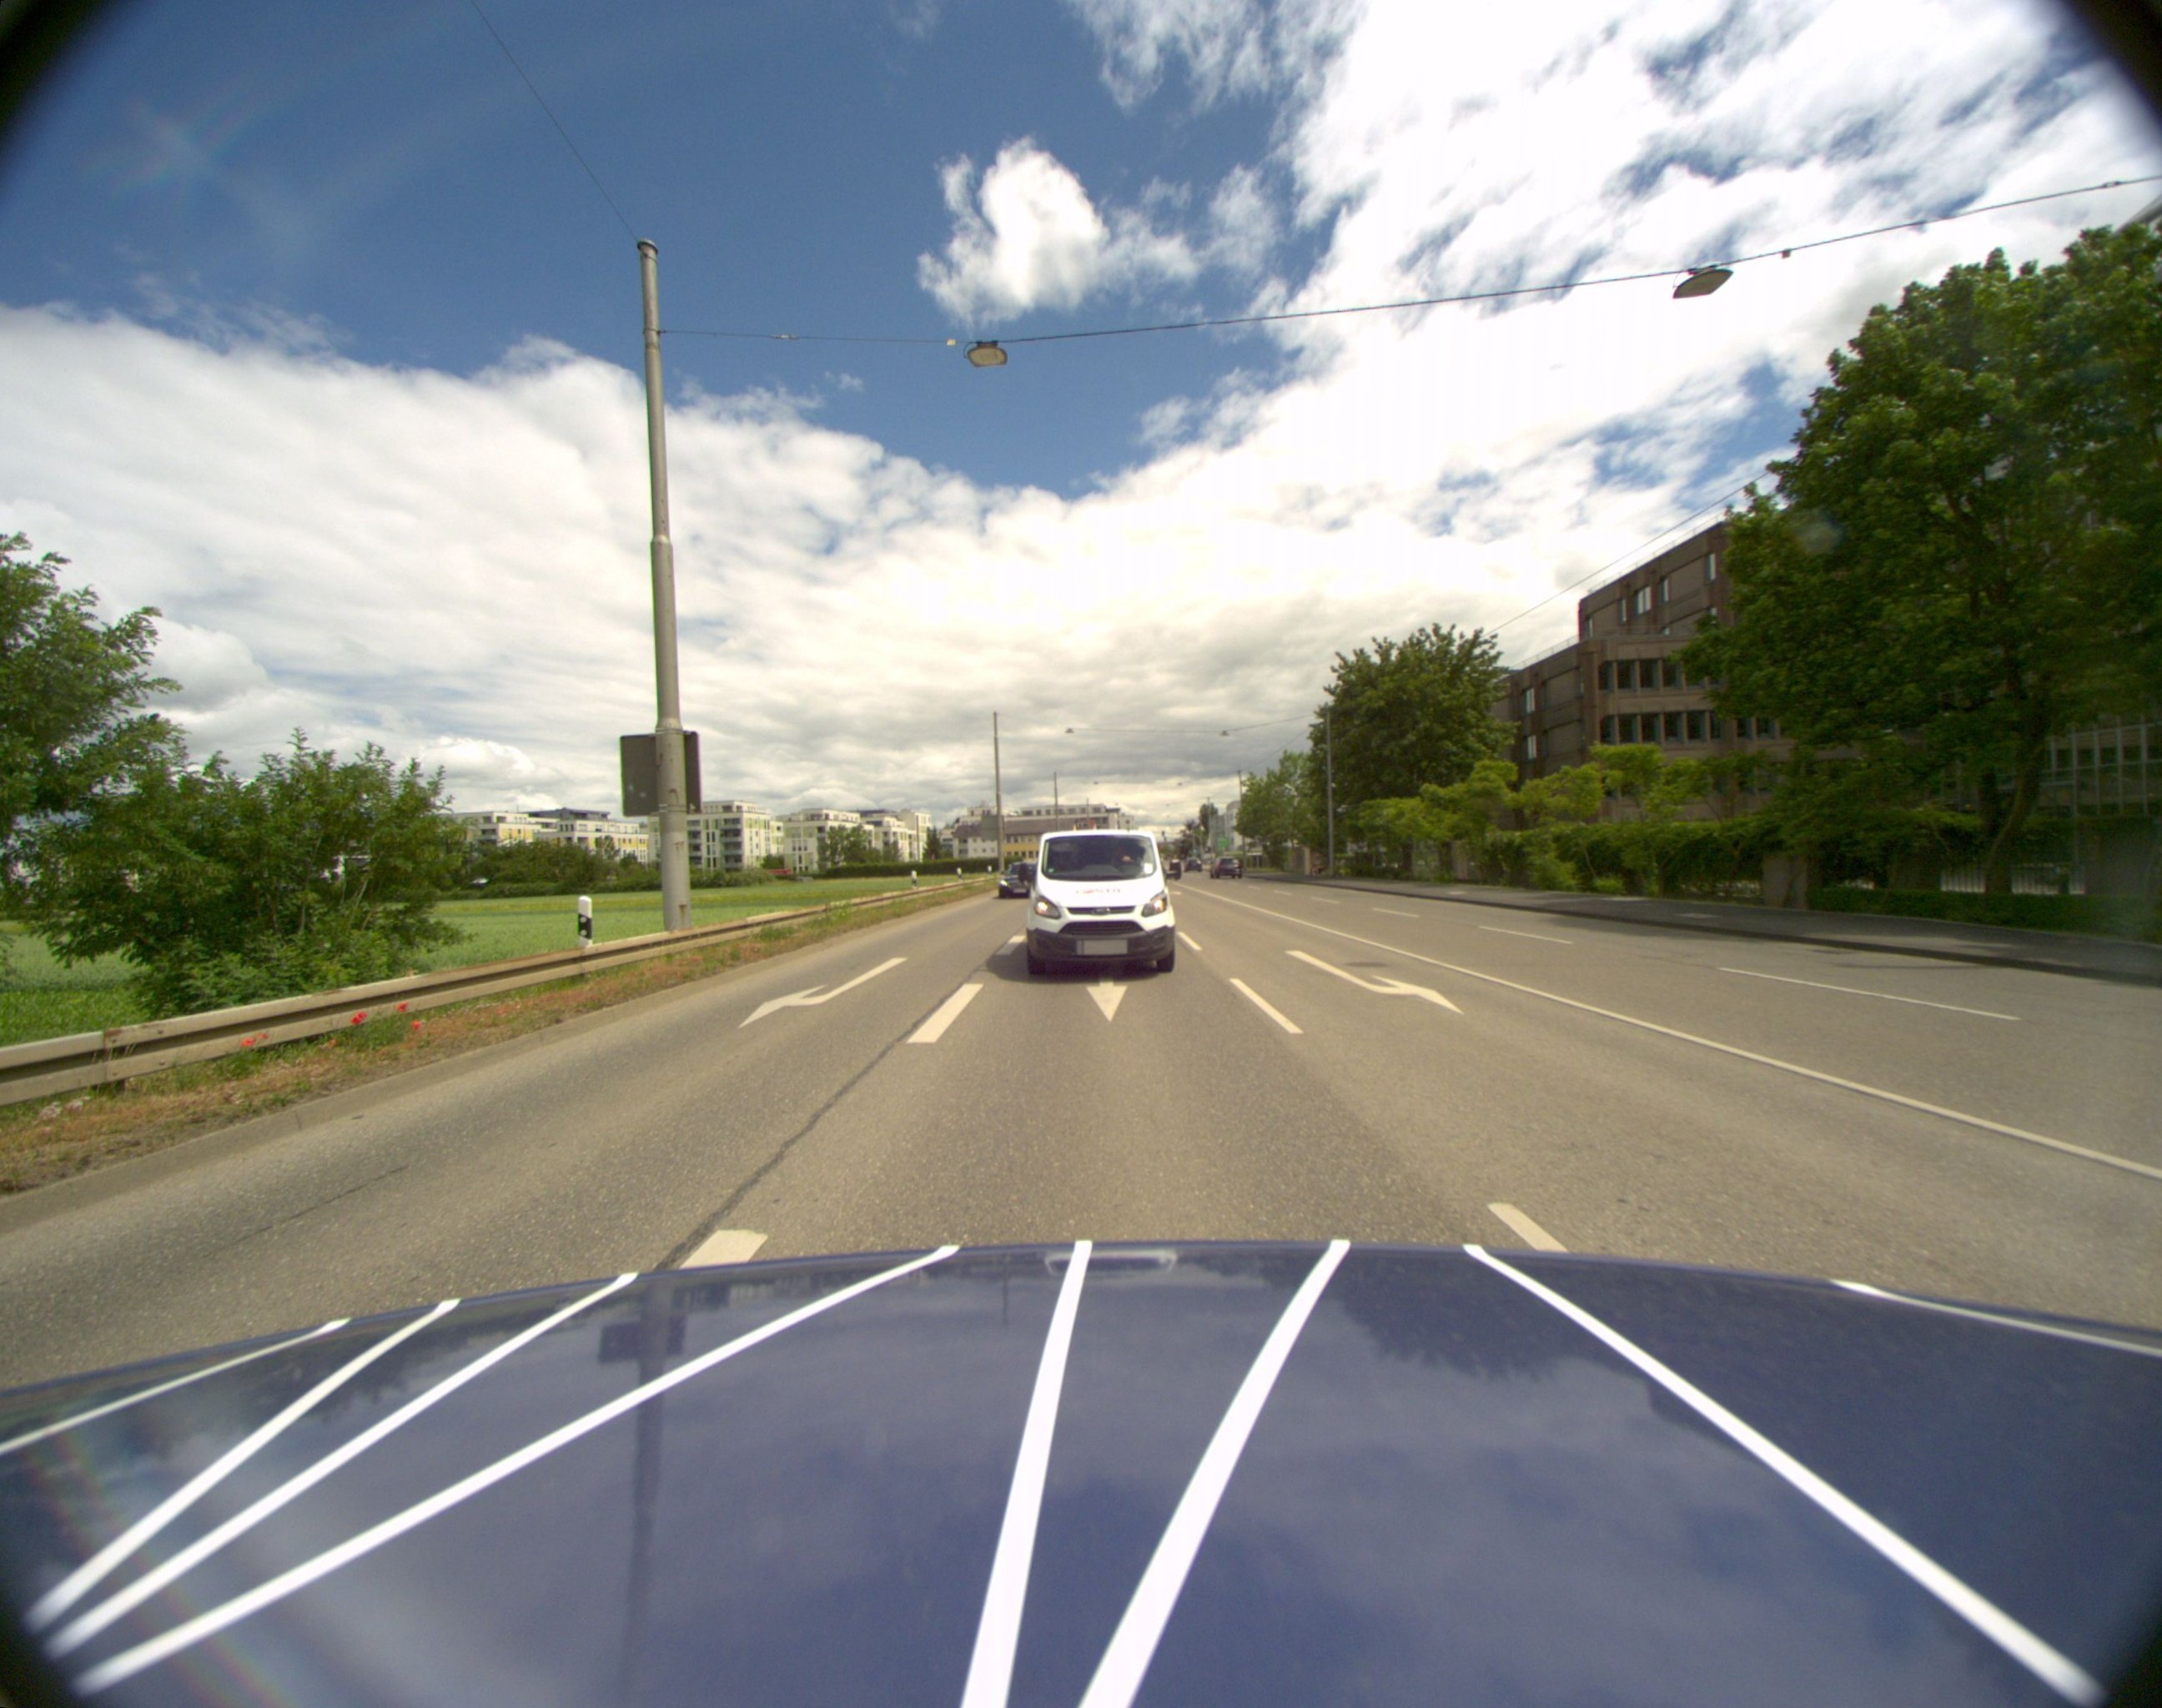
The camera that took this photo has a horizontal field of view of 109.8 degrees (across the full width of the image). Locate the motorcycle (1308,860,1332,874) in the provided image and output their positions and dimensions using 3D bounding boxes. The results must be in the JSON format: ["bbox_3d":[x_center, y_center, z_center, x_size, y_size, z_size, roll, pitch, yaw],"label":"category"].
[{"bbox_3d":[21.845,1.194,69.496,1.905,1.237,0.746,-2,1,1],"label":"motorcycle"}]

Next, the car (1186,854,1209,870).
[{"bbox_3d":[12.429,0.820,81.052,1.801,1.576,4.313,-3,1,1],"label":"car"}]

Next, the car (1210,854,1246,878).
[{"bbox_3d":[10.839,0.851,56.306,1.872,1.605,4.572,-2,1,2],"label":"car"}]

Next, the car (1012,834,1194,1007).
[{"bbox_3d":[0.338,0.733,11.519,1.998,1.907,5.882,-2,1,2],"label":"car"}]

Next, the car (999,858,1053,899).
[{"bbox_3d":[-2.240,1.035,32.137,1.843,1.528,4.807,-2,-2,1],"label":"car"}]

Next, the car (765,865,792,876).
[{"bbox_3d":[-59.831,3.331,150.142,4.436,2.002,2.000,-2,1,2],"label":"car"}]
